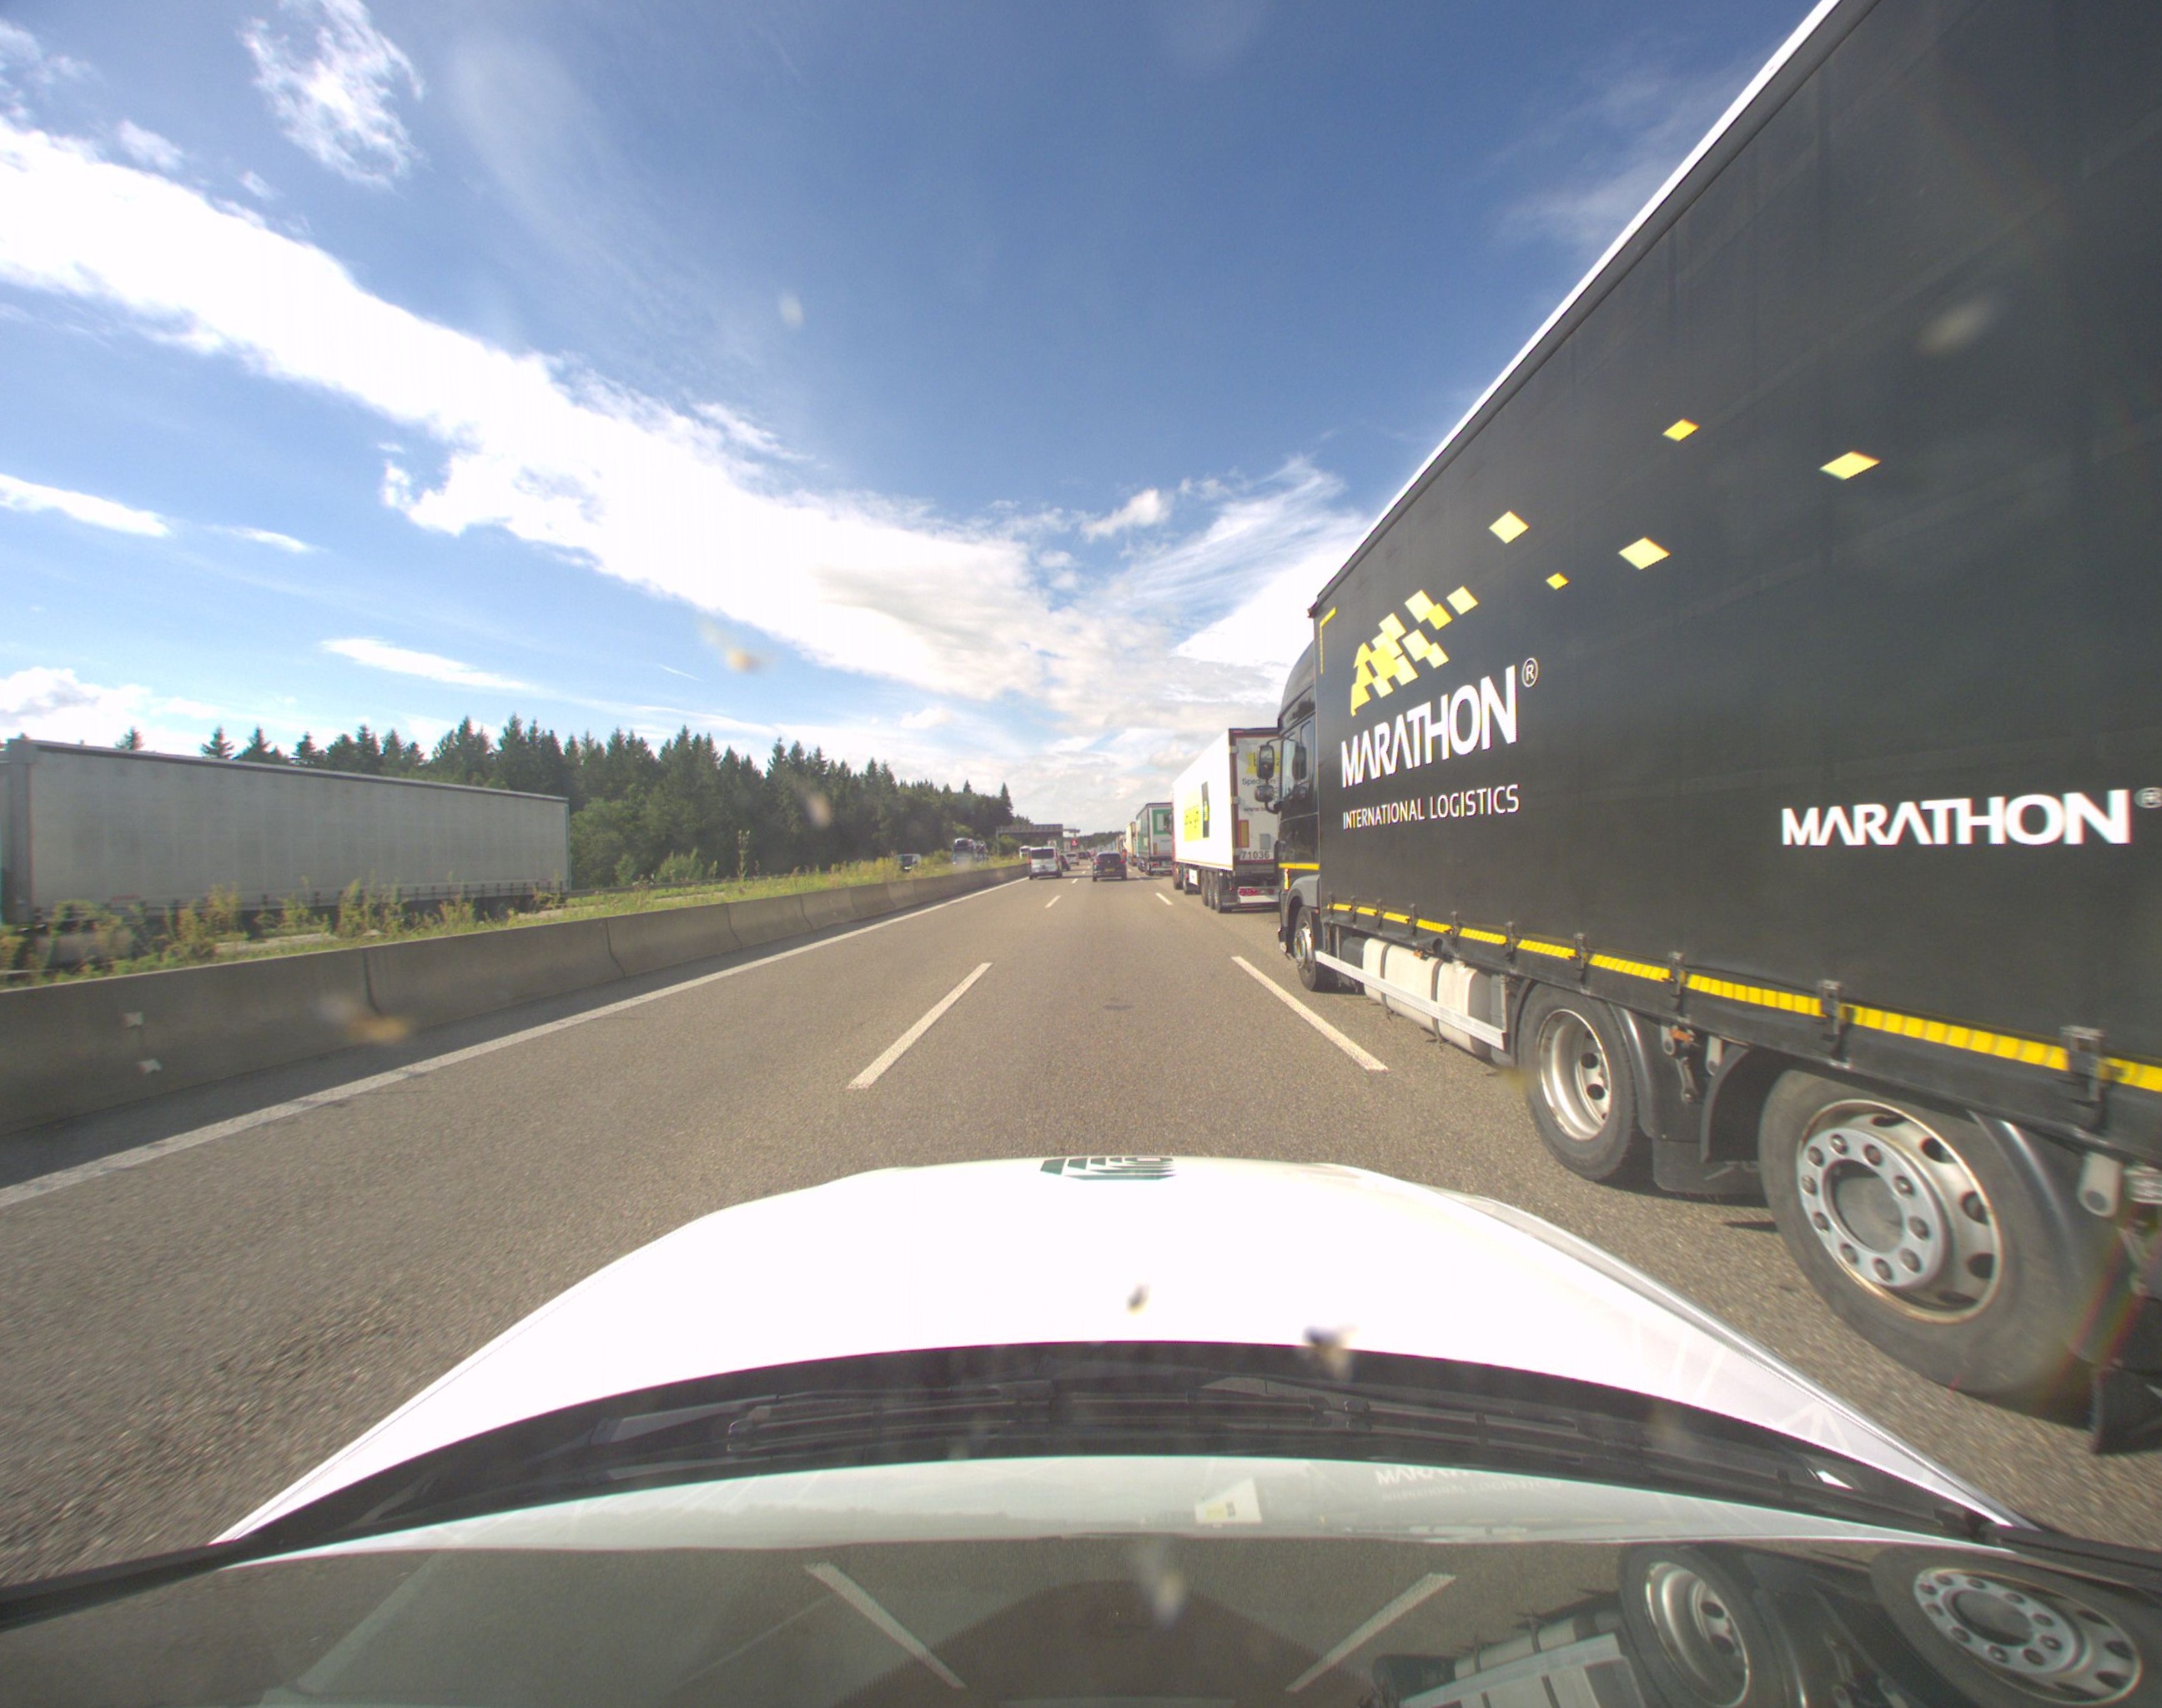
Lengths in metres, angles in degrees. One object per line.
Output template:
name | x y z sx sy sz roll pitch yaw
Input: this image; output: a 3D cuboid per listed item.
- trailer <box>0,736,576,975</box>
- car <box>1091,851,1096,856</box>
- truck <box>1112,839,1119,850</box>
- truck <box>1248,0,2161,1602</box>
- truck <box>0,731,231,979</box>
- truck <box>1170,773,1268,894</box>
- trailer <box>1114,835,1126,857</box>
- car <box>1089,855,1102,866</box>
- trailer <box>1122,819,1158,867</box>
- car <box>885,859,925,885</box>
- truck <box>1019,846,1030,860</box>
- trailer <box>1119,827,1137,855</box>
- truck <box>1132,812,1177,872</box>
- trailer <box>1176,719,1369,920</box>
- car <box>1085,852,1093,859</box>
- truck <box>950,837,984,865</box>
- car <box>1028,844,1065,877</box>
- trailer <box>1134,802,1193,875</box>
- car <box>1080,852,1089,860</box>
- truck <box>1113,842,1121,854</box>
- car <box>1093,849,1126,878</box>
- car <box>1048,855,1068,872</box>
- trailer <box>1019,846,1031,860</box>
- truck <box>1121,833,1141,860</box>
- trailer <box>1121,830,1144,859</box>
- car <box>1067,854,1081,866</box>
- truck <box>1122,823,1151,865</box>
trailer | -18.537 0.058 20.472 2.822 3.992 13.553 -1 0 2
car | 3.353 -0.126 220.329 1.356 1.301 3.085 1 0 1
truck | 9.791 -2.684 231.773 1.986 3.052 4.984 1 0 2
truck | 3.450 -0.613 5.241 2.731 4.038 10.203 -1 0 1
truck | -18.738 0.049 13.595 2.808 3.976 5.836 -1 0 2
truck | 4.880 -0.672 29.937 2.791 3.939 5.829 -1 0 2
trailer | 7.577 -1.507 158.284 2.141 4.259 8.445 -2 0 2
car | 1.875 0.844 105.326 1.575 1.396 3.208 1 0 1
trailer | 5.527 -0.961 77.974 2.693 4.081 12.950 -3 0 2
car | -13.235 1.317 61.573 1.871 1.876 4.492 1 0 2
truck | -13.552 -0.246 194.159 2.311 3.273 6.101 -1 0 -2
trailer | 7.747 -2.058 135.402 2.791 4.244 11.063 -3 0 2
truck | 5.085 -0.800 57.554 2.637 3.869 6.999 -2 0 2
trailer | 4.560 -0.680 22.689 2.781 3.939 13.077 -1 0 2
car | 1.635 0.237 163.788 1.429 1.310 3.534 1 0 1
truck | -15.811 -0.372 113.864 2.821 3.689 11.135 -2 0 1
car | -2.115 0.380 51.448 1.925 1.979 5.100 1 0 2
trailer | 4.848 -0.826 50.382 2.651 3.868 13.400 -2 0 2
car | 0.654 0.380 142.485 1.429 1.310 3.534 1 0 1
truck | 9.046 -1.601 204.525 1.986 2.932 4.984 1 0 2
car | 1.514 0.492 43.473 1.690 1.483 4.161 1 0 2
car | -1.911 0.756 69.170 1.494 1.396 3.477 1 0 2
trailer | -13.694 -0.259 199.628 2.315 3.284 10.868 -1 0 -2
truck | 6.948 -1.074 114.399 2.524 3.584 6.732 -2 0 2
trailer | 6.739 -1.183 107.666 2.531 3.653 10.631 -2 0 2
car | -0.812 0.701 94.024 1.494 1.396 3.477 1 0 2
truck | 5.746 -1.023 85.091 2.698 4.059 6.364 -3 0 2
